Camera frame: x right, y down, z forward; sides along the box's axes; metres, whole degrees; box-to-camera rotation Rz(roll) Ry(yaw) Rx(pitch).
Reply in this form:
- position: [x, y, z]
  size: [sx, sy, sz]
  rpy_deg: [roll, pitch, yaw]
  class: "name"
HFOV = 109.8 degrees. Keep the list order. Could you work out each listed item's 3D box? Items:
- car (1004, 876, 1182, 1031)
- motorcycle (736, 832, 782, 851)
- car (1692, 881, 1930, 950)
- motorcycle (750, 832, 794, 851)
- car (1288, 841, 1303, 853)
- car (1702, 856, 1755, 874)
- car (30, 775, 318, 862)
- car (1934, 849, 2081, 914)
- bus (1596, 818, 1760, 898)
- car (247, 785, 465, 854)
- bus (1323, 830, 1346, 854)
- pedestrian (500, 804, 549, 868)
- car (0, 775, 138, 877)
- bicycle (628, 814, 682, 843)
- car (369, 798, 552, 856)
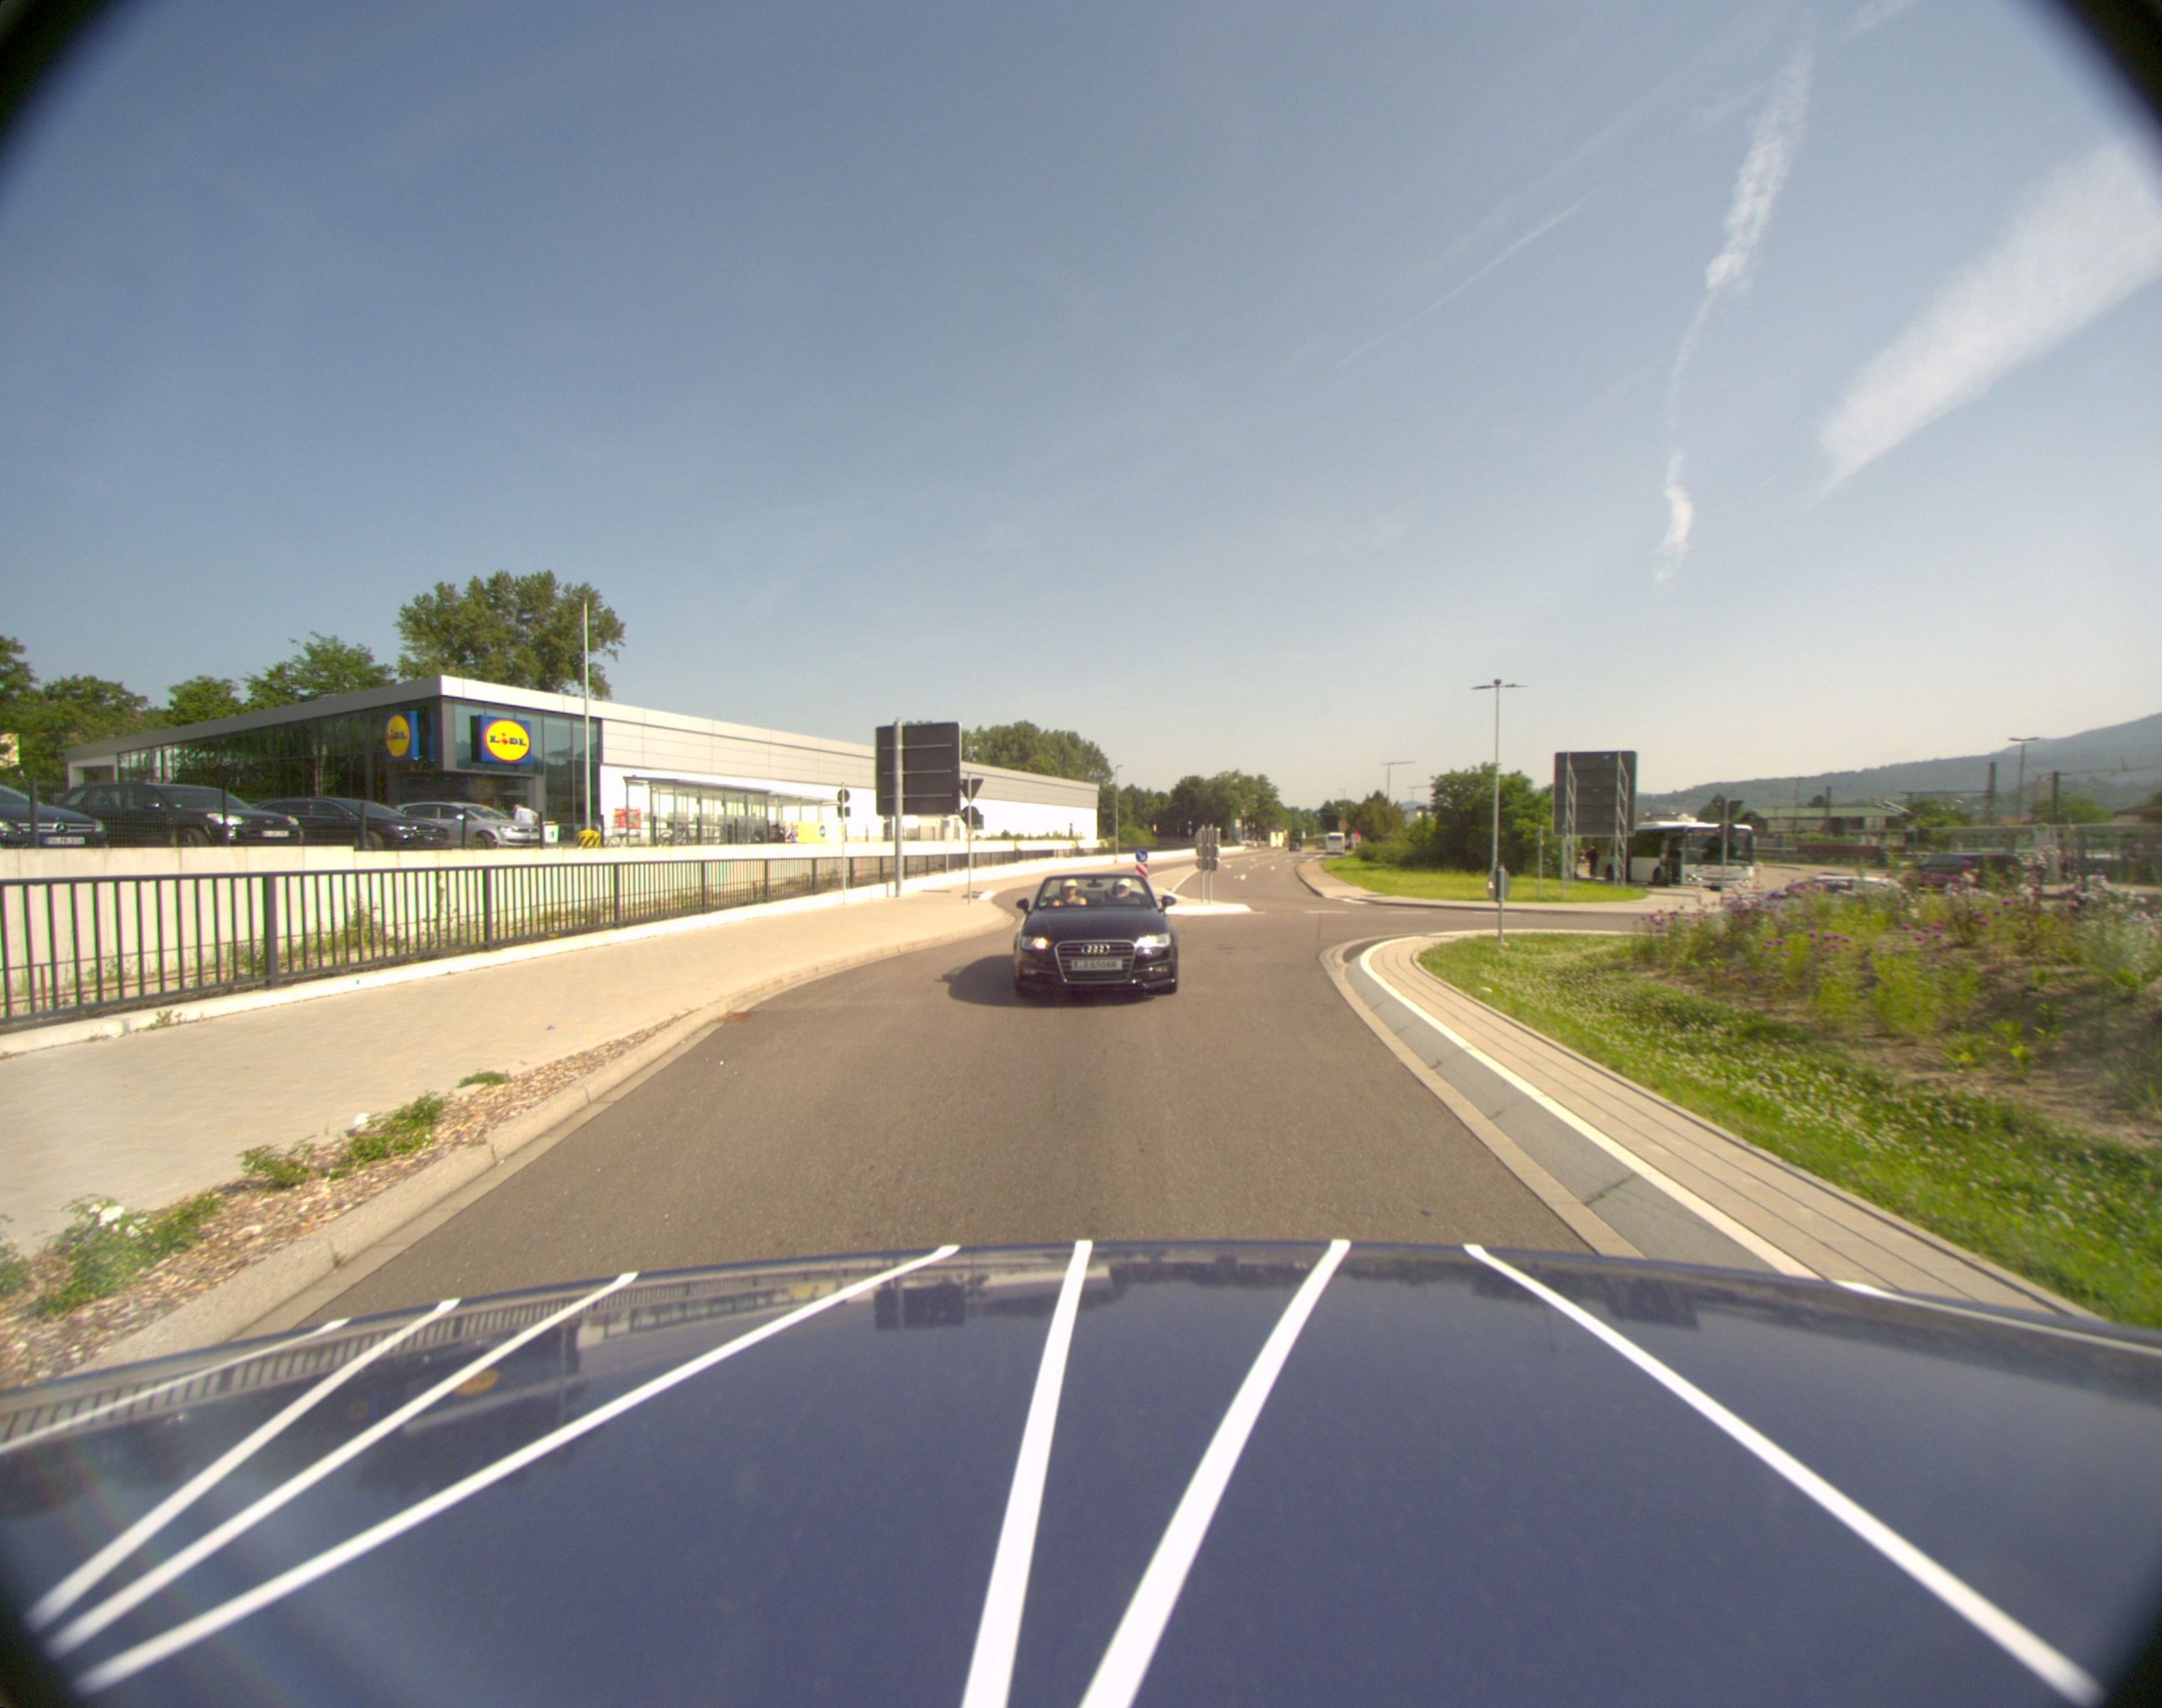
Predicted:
- position: [0.075, 1.032, 9.536]
  size: [1.721, 1.315, 4.223]
  rpy_deg: [-1, 1, -1]
  class: "car"
- position: [-15.066, -0.584, 35.573]
  size: [1.879, 0.859, 0.626]
  rpy_deg: [-2, 1, -16]
  class: "motorcycle"
- position: [17.409, 1.404, 18.408]
  size: [3.989, 1.390, 1.785]
  rpy_deg: [-2, 1, 40]
  class: "car"
- position: [-14.877, -0.603, 36.666]
  size: [1.879, 0.859, 0.626]
  rpy_deg: [-2, 1, -16]
  class: "motorcycle"
- position: [35.174, -1.189, 124.640]
  size: [1.883, 1.783, 4.003]
  rpy_deg: [-2, 1, 11]
  class: "car"
- position: [70.028, 1.196, 82.183]
  size: [3.995, 1.718, 1.839]
  rpy_deg: [-2, 1, 7]
  class: "car"
- position: [-18.983, -0.718, 16.034]
  size: [3.997, 1.565, 1.704]
  rpy_deg: [-2, 1, 1]
  class: "car"
- position: [33.037, 0.903, 27.311]
  size: [1.973, 1.953, 5.167]
  rpy_deg: [-2, 1, 35]
  class: "car"
- position: [28.908, 0.080, 37.550]
  size: [2.583, 3.310, 10.600]
  rpy_deg: [-2, 1, 16]
  class: "bus"
- position: [-18.751, -0.865, 19.769]
  size: [3.997, 1.565, 1.704]
  rpy_deg: [-2, 1, 1]
  class: "car"
- position: [35.795, -1.677, 106.995]
  size: [2.863, 3.174, 9.129]
  rpy_deg: [-1, 1, 19]
  class: "bus"
- position: [-18.010, -0.566, 24.608]
  size: [0.831, 2.002, 0.864]
  rpy_deg: [-2, 1, 17]
  class: "pedestrian"
- position: [-18.827, -0.387, 12.687]
  size: [3.997, 1.565, 1.704]
  rpy_deg: [-2, 1, 1]
  class: "car"
- position: [-17.038, -1.004, 30.439]
  size: [0.625, 1.087, 1.881]
  rpy_deg: [-2, 1, 19]
  class: "bicycle"
- position: [-18.893, -0.802, 23.254]
  size: [4.128, 1.565, 1.704]
  rpy_deg: [-2, 1, 1]
  class: "car"
